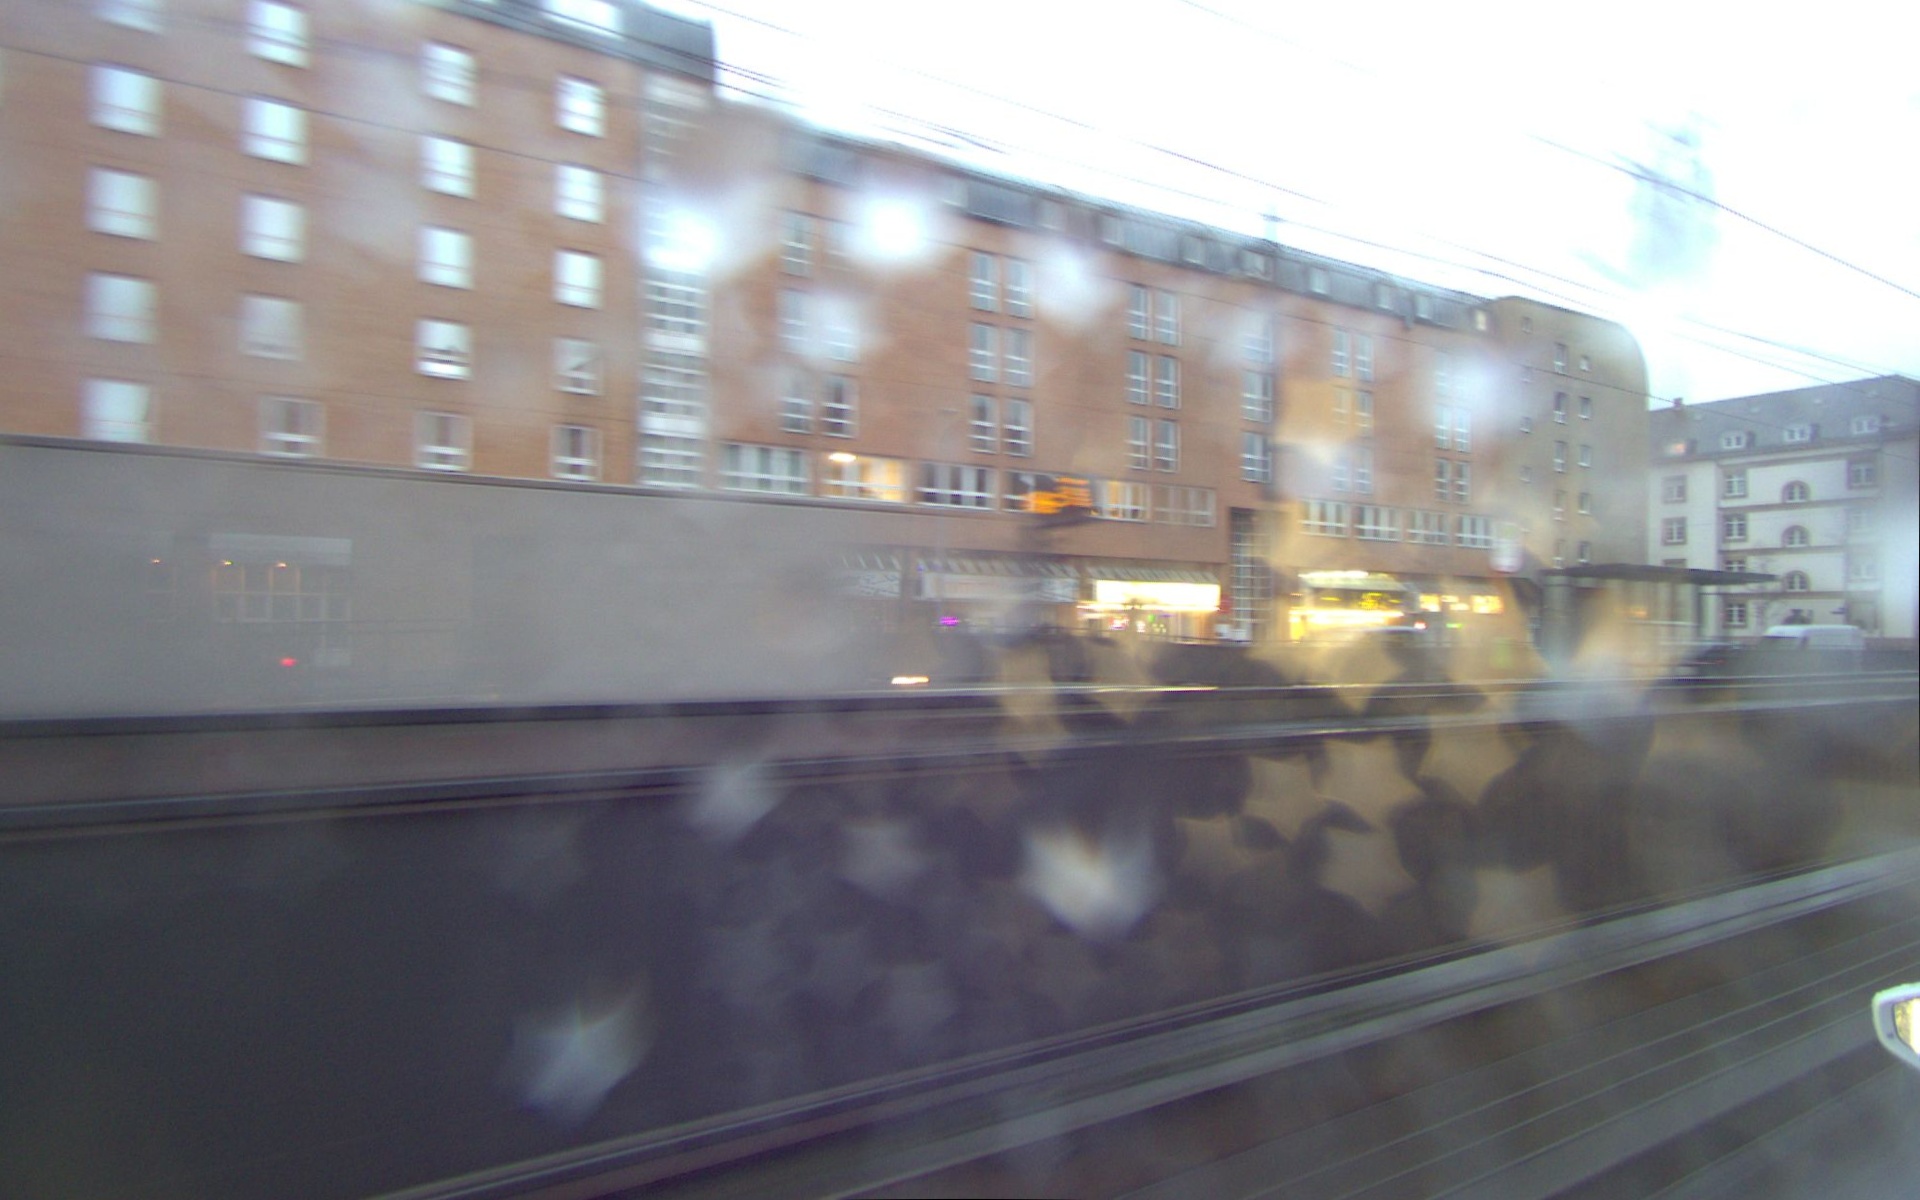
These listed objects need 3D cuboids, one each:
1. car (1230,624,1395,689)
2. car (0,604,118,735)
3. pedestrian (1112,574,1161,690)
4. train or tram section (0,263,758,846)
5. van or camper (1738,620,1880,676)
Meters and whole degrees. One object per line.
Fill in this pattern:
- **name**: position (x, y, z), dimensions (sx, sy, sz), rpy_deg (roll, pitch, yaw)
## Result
- **car**: position (8.299, 1.309, 23.622), dimensions (3.503, 1.372, 1.811), rpy_deg (2, -1, -30)
- **car**: position (-12.459, 0.805, 12.095), dimensions (3.285, 1.537, 1.510), rpy_deg (2, -1, -30)
- **pedestrian**: position (2.990, 0.534, 17.022), dimensions (0.778, 1.911, 0.884), rpy_deg (1, -1, 11)
- **train or tram section**: position (-7.207, -0.304, 7.203), dimensions (10.898, 3.615, 2.888), rpy_deg (2, 0, -28)
- **van or camper**: position (44.084, 2.500, 52.149), dimensions (6.653, 2.718, 2.769), rpy_deg (2, 0, -21)
